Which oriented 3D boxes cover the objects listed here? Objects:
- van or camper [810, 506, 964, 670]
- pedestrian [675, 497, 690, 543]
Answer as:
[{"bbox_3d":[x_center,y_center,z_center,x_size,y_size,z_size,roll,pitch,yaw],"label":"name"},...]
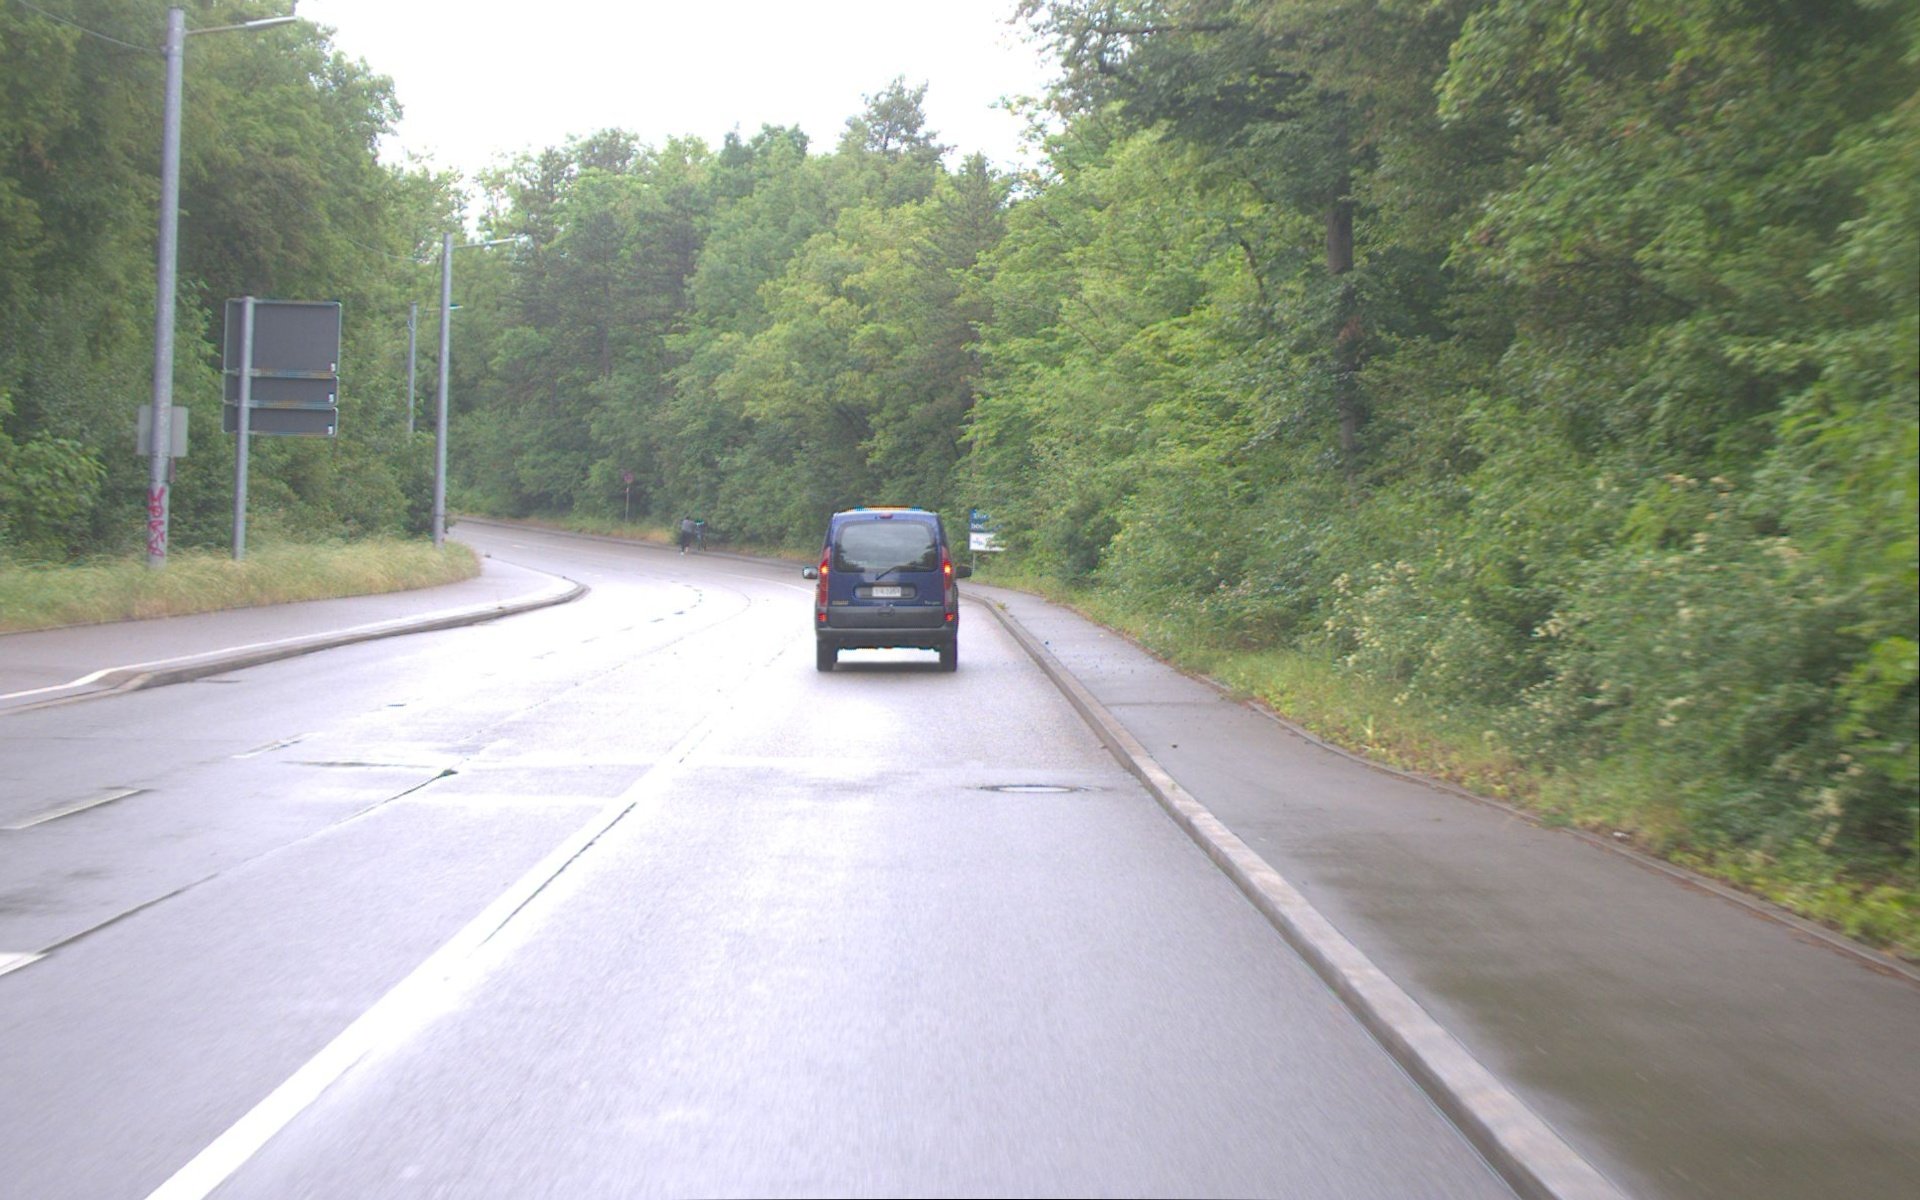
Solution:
[{"bbox_3d":[-0.856,-0.161,40.266,1.712,1.819,4.000,0,1,-1],"label":"van or camper"},{"bbox_3d":[-11.167,-3.223,138.484,0.490,1.863,0.680,1,1,-13],"label":"pedestrian"}]
